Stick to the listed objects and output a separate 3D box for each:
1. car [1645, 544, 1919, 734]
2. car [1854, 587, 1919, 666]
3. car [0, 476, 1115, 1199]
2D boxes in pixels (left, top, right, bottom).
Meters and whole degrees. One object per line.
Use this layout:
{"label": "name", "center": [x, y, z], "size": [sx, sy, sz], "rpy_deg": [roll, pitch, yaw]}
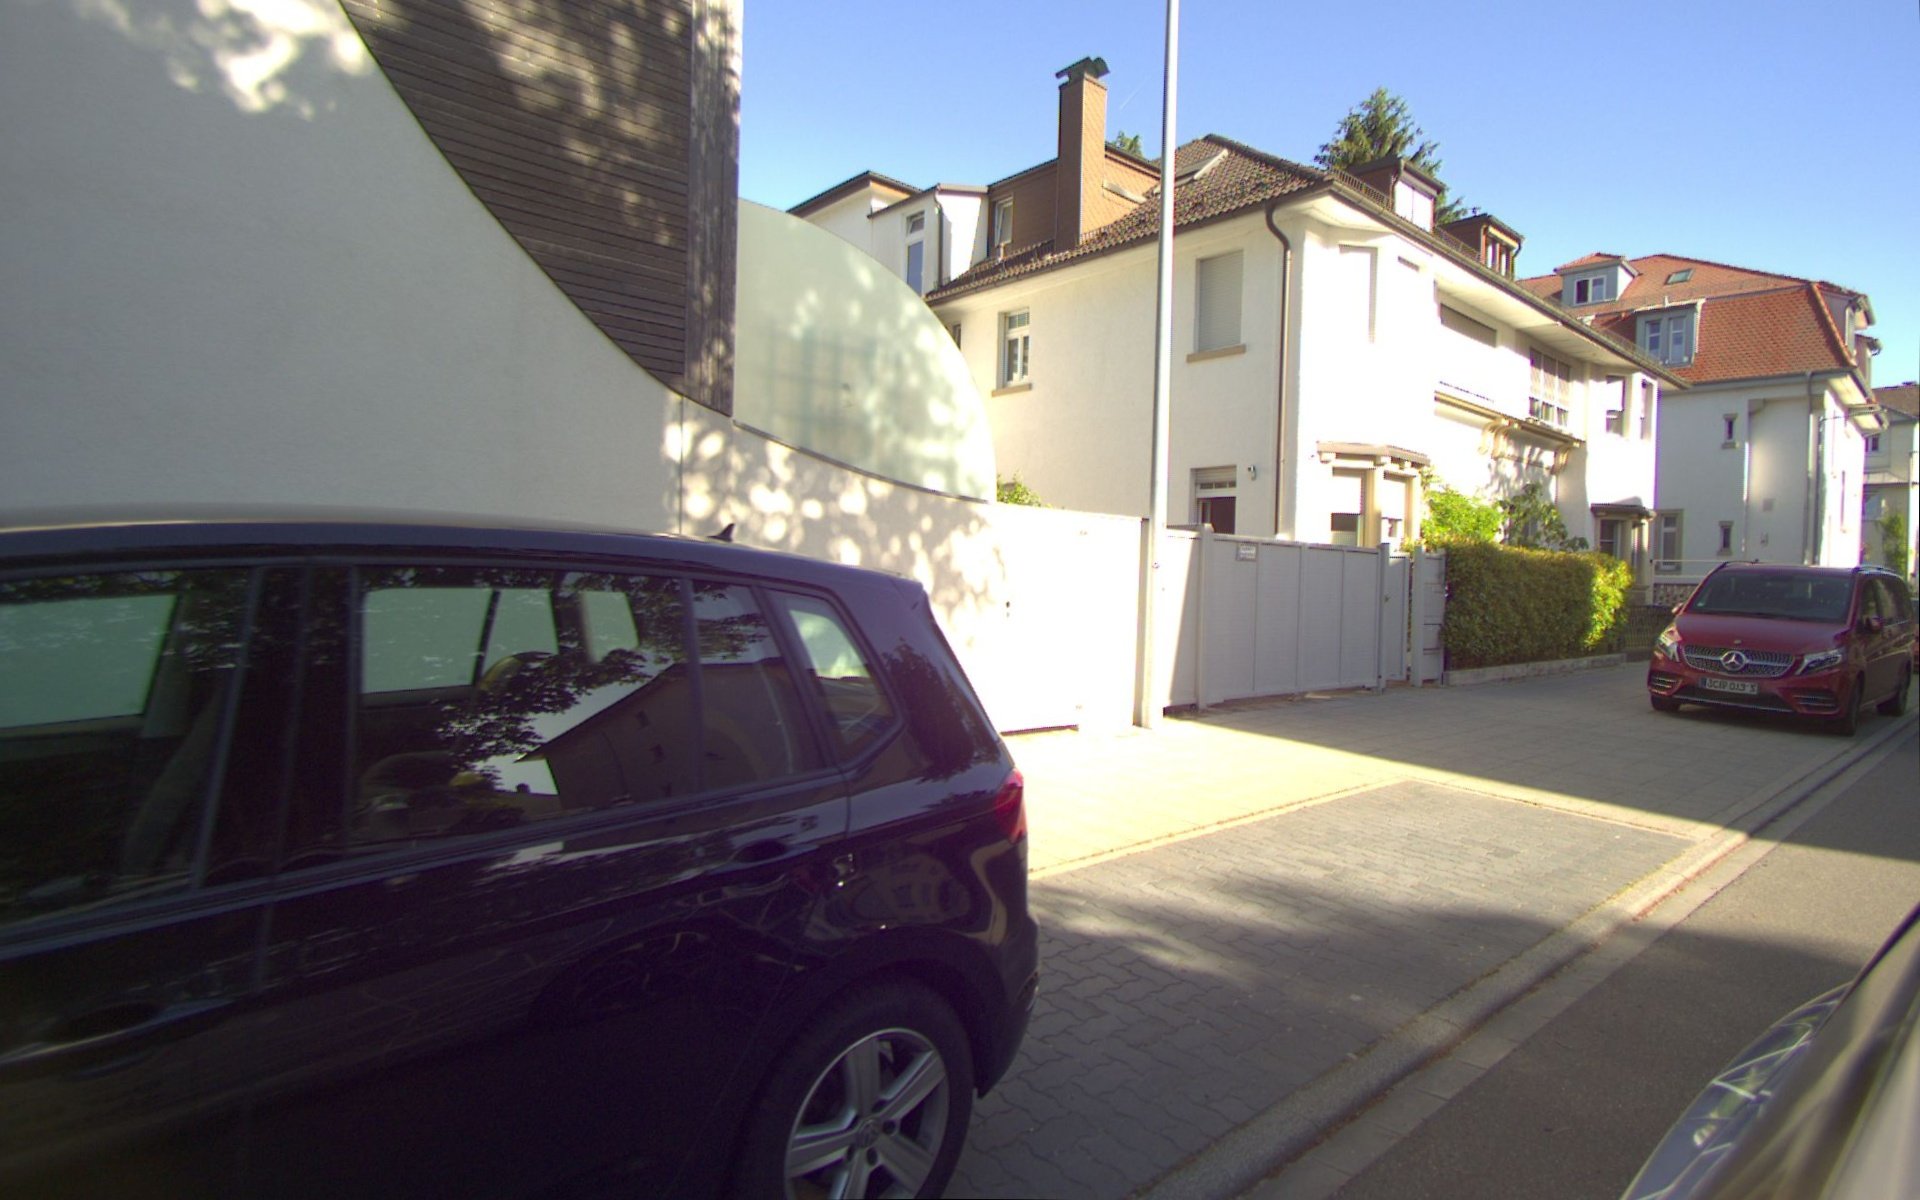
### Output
{"label": "car", "center": [10.626, 0.337, 12.701], "size": [5.103, 1.928, 1.877], "rpy_deg": [-1, 3, -39]}
{"label": "car", "center": [20.162, 0.541, 21.297], "size": [3.191, 1.498, 1.595], "rpy_deg": [0, 4, -42]}
{"label": "car", "center": [-1.773, 0.568, 1.713], "size": [4.106, 1.549, 1.741], "rpy_deg": [0, 4, -41]}
